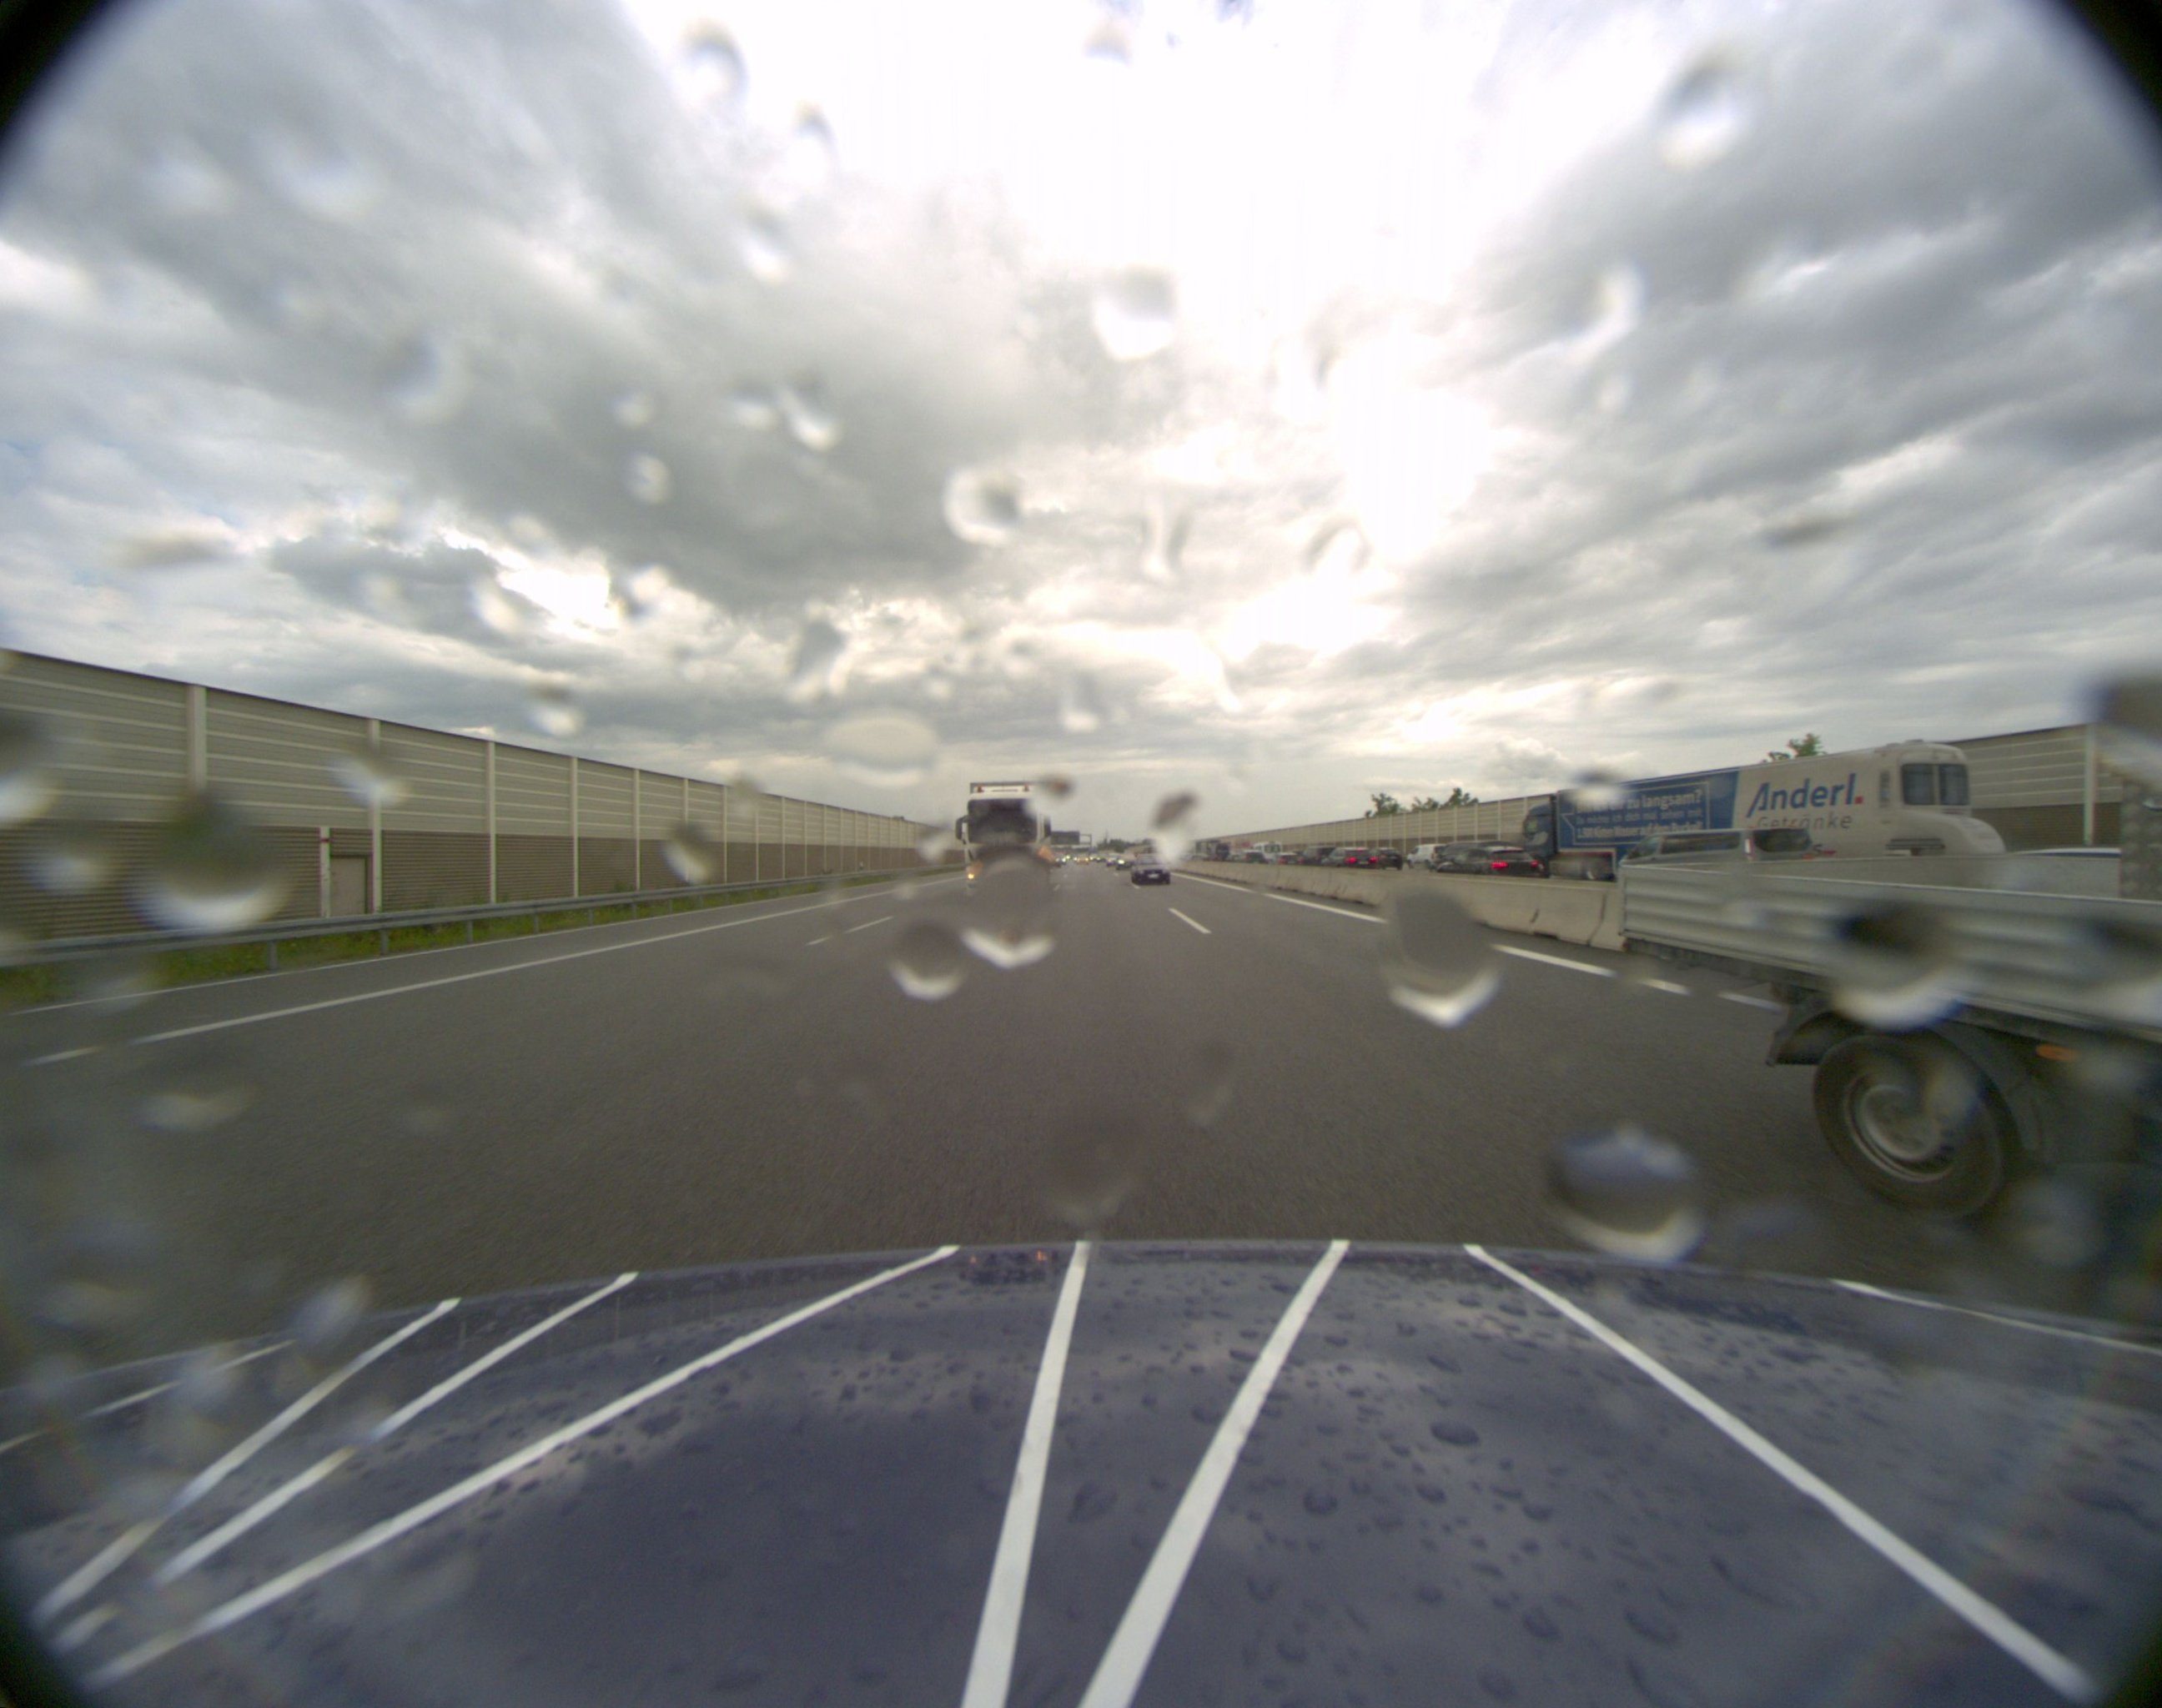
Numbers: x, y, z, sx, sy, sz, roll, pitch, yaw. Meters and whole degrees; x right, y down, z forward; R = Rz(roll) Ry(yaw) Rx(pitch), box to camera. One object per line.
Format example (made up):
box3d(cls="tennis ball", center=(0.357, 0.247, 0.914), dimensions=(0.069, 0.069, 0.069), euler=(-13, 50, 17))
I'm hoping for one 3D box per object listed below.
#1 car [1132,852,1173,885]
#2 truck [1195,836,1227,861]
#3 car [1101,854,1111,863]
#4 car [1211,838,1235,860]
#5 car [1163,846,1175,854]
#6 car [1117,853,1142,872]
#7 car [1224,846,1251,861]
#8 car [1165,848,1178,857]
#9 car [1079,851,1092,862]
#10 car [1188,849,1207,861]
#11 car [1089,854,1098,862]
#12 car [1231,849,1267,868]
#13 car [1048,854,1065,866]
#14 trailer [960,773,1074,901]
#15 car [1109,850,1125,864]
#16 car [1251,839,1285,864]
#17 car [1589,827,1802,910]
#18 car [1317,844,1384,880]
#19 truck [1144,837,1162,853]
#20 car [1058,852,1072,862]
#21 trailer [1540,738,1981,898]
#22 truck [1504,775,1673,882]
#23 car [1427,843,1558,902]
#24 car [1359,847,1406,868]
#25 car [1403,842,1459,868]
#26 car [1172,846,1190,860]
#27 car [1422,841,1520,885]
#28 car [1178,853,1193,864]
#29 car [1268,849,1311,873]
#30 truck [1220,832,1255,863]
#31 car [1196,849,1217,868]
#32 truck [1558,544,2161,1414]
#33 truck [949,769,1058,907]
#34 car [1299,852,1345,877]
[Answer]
box3d(cls="car", center=(3.361, 0.653, 36.264), dimensions=(1.578, 1.395, 4.000), euler=(-1, 1, 1))
box3d(cls="truck", center=(26.702, -1.068, 156.771), dimensions=(3.448, 4.829, 17.226), euler=(-1, 0, 0))
box3d(cls="car", center=(4.166, 0.665, 126.880), dimensions=(1.498, 1.395, 4.000), euler=(-1, 1, 2))
box3d(cls="car", center=(19.009, -0.664, 102.214), dimensions=(2.133, 2.733, 4.931), euler=(-1, 0, -2))
box3d(cls="car", center=(21.125, -0.889, 182.004), dimensions=(2.120, 1.924, 4.932), euler=(-1, 0, -1))
box3d(cls="car", center=(4.148, 0.708, 65.881), dimensions=(1.777, 1.451, 4.479), euler=(-1, 1, -1))
box3d(cls="car", center=(18.649, -0.025, 90.736), dimensions=(2.132, 1.697, 4.932), euler=(-1, 0, 0))
box3d(cls="car", center=(18.354, -0.306, 154.245), dimensions=(2.120, 1.924, 4.932), euler=(-1, 0, -1))
box3d(cls="car", center=(0.618, 0.263, 103.685), dimensions=(1.732, 1.395, 4.000), euler=(-1, 1, 2))
box3d(cls="car", center=(15.019, 0.157, 97.911), dimensions=(1.641, 1.496, 4.362), euler=(-1, 0, -2))
box3d(cls="car", center=(2.317, 0.729, 147.151), dimensions=(1.498, 1.395, 3.999), euler=(-1, 1, -2))
box3d(cls="car", center=(14.662, 0.361, 66.445), dimensions=(1.925, 1.622, 4.695), euler=(-1, 0, -2))
box3d(cls="car", center=(-2.745, 0.666, 87.151), dimensions=(1.776, 1.248, 4.479), euler=(-1, 1, 0))
box3d(cls="trailer", center=(-2.203, -0.642, 32.072), dimensions=(2.925, 4.188, 13.197), euler=(-2, 1, 3))
box3d(cls="car", center=(4.040, 0.316, 84.981), dimensions=(1.732, 1.395, 4.000), euler=(-1, 1, 2))
box3d(cls="car", center=(18.807, -0.260, 76.626), dimensions=(2.031, 2.459, 5.148), euler=(-1, 0, -2))
box3d(cls="car", center=(18.025, 0.377, 22.750), dimensions=(2.066, 2.146, 5.432), euler=(-1, 0, 1))
box3d(cls="car", center=(15.200, 0.431, 43.194), dimensions=(1.924, 1.880, 5.426), euler=(-1, 0, 1))
box3d(cls="truck", center=(23.817, -3.057, 253.238), dimensions=(3.714, 5.029, 17.225), euler=(-1, 0, -1))
box3d(cls="car", center=(-2.232, 0.367, 107.170), dimensions=(1.776, 1.248, 4.479), euler=(-1, 1, 0))
box3d(cls="trailer", center=(22.143, -0.979, 27.077), dimensions=(3.066, 4.136, 14.315), euler=(-1, 0, 1))
box3d(cls="truck", center=(22.232, -1.033, 33.857), dimensions=(3.078, 4.220, 6.693), euler=(-1, 0, 1))
box3d(cls="car", center=(14.789, 0.598, 27.735), dimensions=(1.938, 1.886, 5.432), euler=(-1, 0, 1))
box3d(cls="car", center=(22.361, 0.237, 56.501), dimensions=(1.574, 1.496, 4.362), euler=(-1, 0, -2))
box3d(cls="car", center=(26.349, 0.046, 57.352), dimensions=(1.812, 1.808, 4.977), euler=(-1, 0, -2))
box3d(cls="car", center=(14.573, -0.164, 111.124), dimensions=(1.947, 1.924, 4.932), euler=(-1, 0, -1))
box3d(cls="car", center=(18.324, 0.364, 36.025), dimensions=(1.938, 1.886, 5.432), euler=(-1, 0, 1))
box3d(cls="car", center=(18.519, 0.741, 135.043), dimensions=(1.947, 1.924, 4.932), euler=(-1, 0, -1))
box3d(cls="car", center=(15.055, 0.504, 55.067), dimensions=(1.817, 1.622, 4.208), euler=(-1, 0, -1))
box3d(cls="truck", center=(26.345, -1.059, 128.454), dimensions=(3.225, 4.829, 11.696), euler=(-1, 0, 0))
box3d(cls="car", center=(19.048, 0.609, 115.448), dimensions=(2.133, 2.733, 4.931), euler=(-1, 0, -2))
box3d(cls="truck", center=(4.159, 0.336, 1.173), dimensions=(2.313, 2.425, 7.147), euler=(-2, 1, 0))
box3d(cls="truck", center=(-2.476, -0.509, 26.203), dimensions=(2.913, 4.146, 5.192), euler=(-2, 1, 2))
box3d(cls="car", center=(19.015, 0.785, 60.110), dimensions=(2.031, 1.886, 4.680), euler=(-1, 0, -2))
